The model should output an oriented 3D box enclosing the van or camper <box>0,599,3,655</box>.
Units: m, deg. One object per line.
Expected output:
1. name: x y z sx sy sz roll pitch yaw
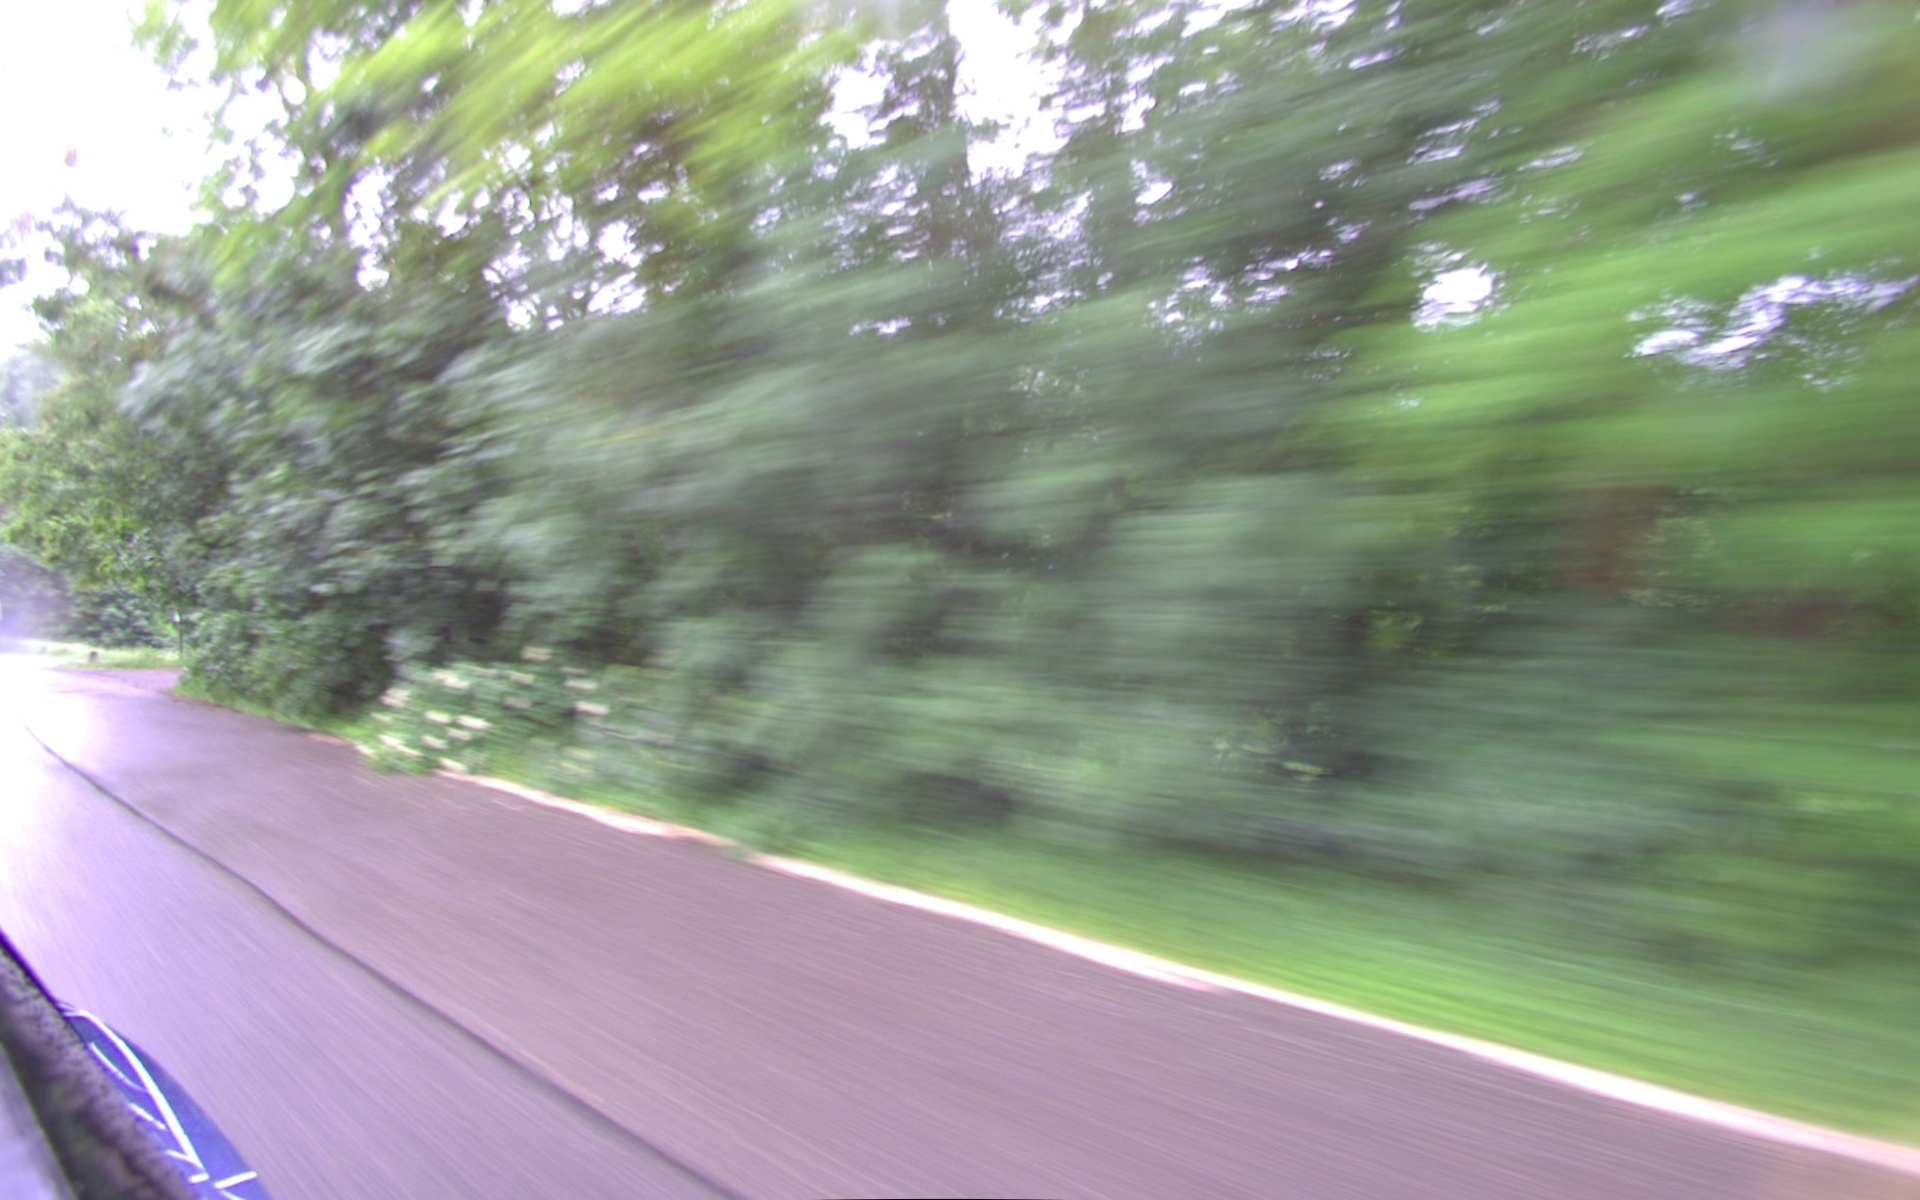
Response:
1. van or camper: -42.391 1.223 42.482 4.825 2.535 2.177 -1 -3 35
